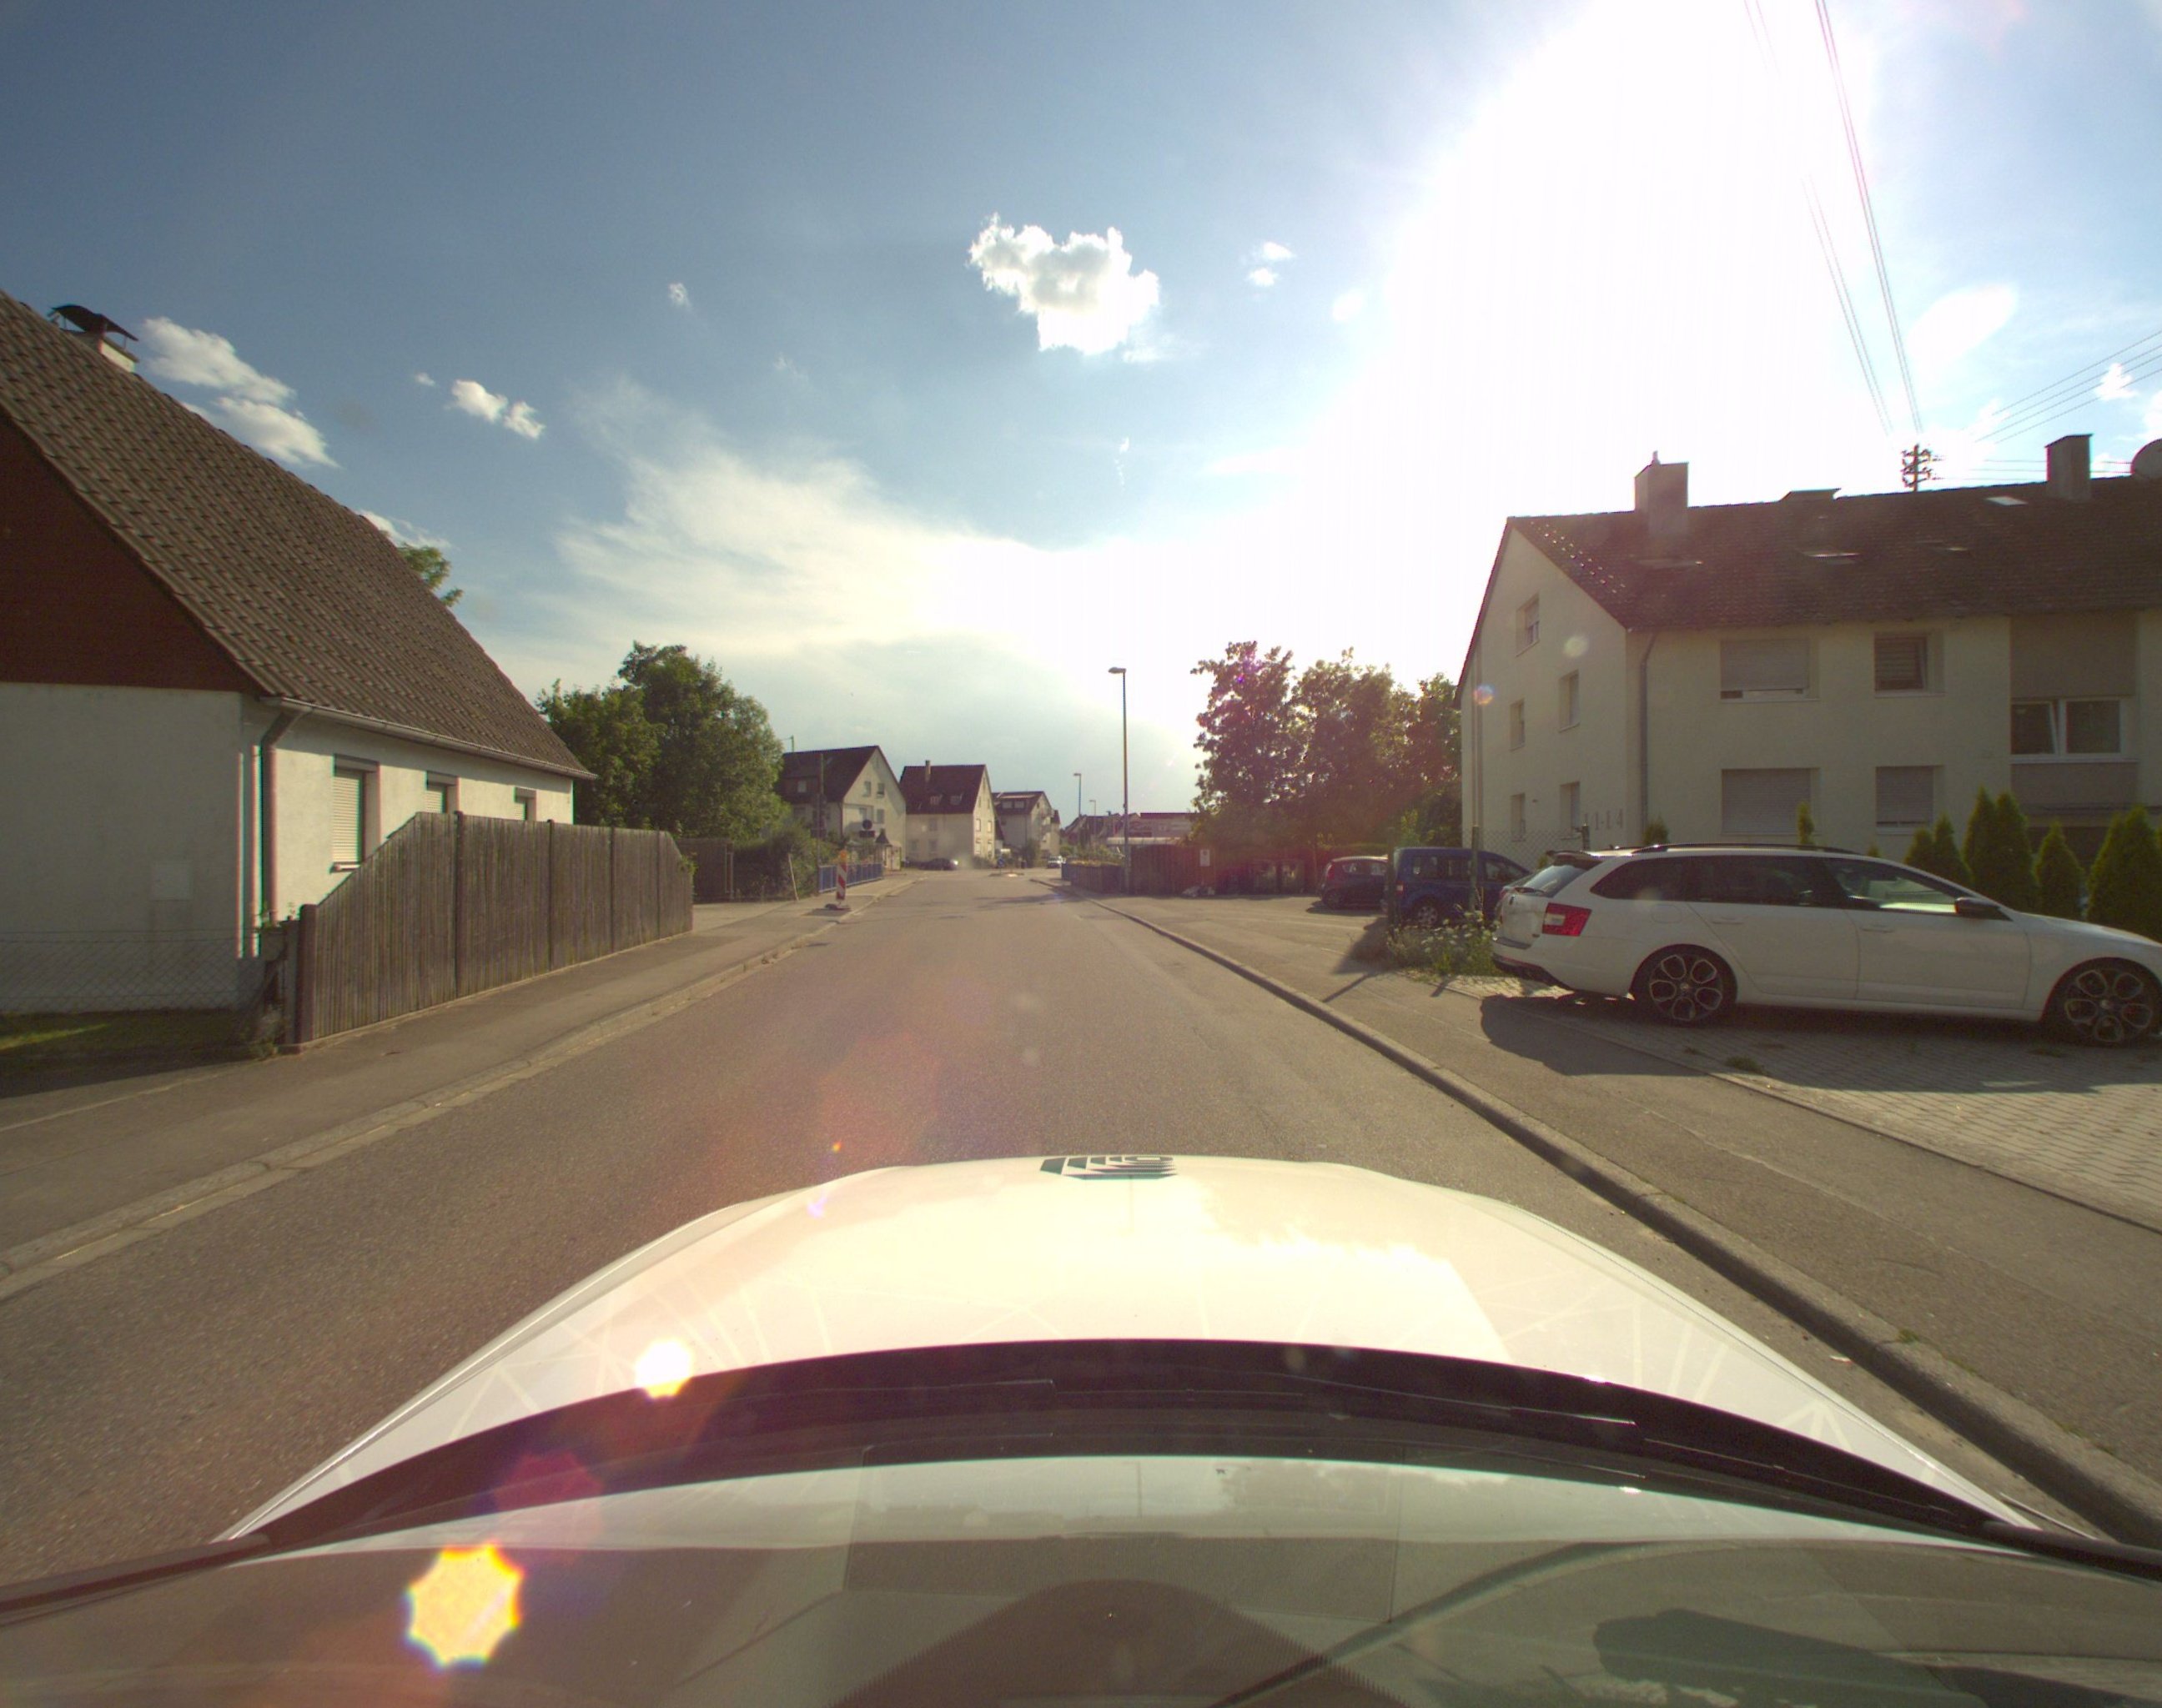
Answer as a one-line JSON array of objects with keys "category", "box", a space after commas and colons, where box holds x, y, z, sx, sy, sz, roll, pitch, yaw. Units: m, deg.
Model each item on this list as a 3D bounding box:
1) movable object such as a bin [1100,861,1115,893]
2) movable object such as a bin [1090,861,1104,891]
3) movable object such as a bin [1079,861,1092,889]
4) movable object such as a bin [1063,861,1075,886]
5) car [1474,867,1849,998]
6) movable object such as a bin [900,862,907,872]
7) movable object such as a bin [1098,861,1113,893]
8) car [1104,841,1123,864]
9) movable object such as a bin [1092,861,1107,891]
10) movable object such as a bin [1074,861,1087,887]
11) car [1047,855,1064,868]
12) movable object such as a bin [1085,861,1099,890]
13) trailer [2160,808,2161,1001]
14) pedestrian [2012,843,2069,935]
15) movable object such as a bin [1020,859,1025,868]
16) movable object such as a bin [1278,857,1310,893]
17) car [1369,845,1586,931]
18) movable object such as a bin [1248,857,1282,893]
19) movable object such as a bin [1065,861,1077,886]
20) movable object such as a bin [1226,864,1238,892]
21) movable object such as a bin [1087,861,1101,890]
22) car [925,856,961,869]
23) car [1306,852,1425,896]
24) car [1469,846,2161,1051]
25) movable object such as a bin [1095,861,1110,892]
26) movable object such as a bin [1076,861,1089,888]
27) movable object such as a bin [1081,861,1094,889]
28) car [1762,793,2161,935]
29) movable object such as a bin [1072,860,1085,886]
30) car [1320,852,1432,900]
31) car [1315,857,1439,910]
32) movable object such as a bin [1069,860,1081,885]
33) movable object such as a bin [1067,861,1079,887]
[{"category": "movable object such as a bin", "box": [0.963, 0.839, 29.589, 0.478, 1.143, 0.537, 0, -1, -9]}, {"category": "movable object such as a bin", "box": [0.619, 0.860, 31.908, 0.478, 1.143, 0.537, 0, -1, -9]}, {"category": "movable object such as a bin", "box": [0.182, 0.883, 34.283, 0.478, 1.143, 0.563, -1, -1, -8]}, {"category": "movable object such as a bin", "box": [-0.557, 0.922, 38.480, 0.478, 1.143, 0.537, 0, -1, -9]}, {"category": "car", "box": [8.140, 1.007, 11.949, 1.701, 1.519, 4.245, 3, -2, -22]}, {"category": "movable object such as a bin", "box": [-17.994, 1.288, 82.472, 0.358, 1.041, 0.561, -1, -2, 23]}, {"category": "movable object such as a bin", "box": [0.897, 0.844, 30.142, 0.478, 1.143, 0.537, 0, -1, -9]}, {"category": "car", "box": [3.485, -0.111, 86.596, 1.828, 2.375, 5.182, -1, -1, 3]}, {"category": "movable object such as a bin", "box": [0.710, 0.855, 31.345, 0.478, 1.143, 0.537, 0, -1, -9]}, {"category": "movable object such as a bin", "box": [-0.030, 0.871, 35.470, 0.478, 1.143, 0.537, 0, -1, -9]}, {"category": "car", "box": [-3.673, 1.060, 116.540, 1.707, 1.872, 4.201, -2, 0, 7]}, {"category": "movable object such as a bin", "box": [0.447, 0.871, 33.060, 0.478, 1.143, 0.537, 0, -1, -9]}, {"category": "trailer", "box": [10.103, 0.466, 5.630, 1.509, 1.752, 3.230, 0, 0, 14]}, {"category": "pedestrian", "box": [18.040, 0.645, 15.324, 0.531, 1.704, 0.414, -1, 0, 13]}, {"category": "movable object such as a bin", "box": [-7.559, 1.194, 105.013, 0.607, 1.101, 0.577, 1, -1, 7]}, {"category": "movable object such as a bin", "box": [8.112, 0.778, 31.013, 1.035, 1.337, 1.006, 0, 0, 5]}, {"category": "car", "box": [8.981, 0.728, 18.786, 4.175, 1.786, 1.772, 0, 2, 9]}, {"category": "movable object such as a bin", "box": [6.996, 0.788, 31.083, 1.146, 1.337, 1.047, 0, 0, 5]}, {"category": "movable object such as a bin", "box": [-0.453, 0.917, 37.871, 0.478, 1.143, 0.537, 0, -1, -9]}, {"category": "movable object such as a bin", "box": [5.765, 0.920, 31.049, 0.429, 1.044, 0.442, 0, 0, 5]}, {"category": "movable object such as a bin", "box": [0.521, 0.865, 32.478, 0.478, 1.143, 0.537, 0, -1, -9]}, {"category": "car", "box": [-15.487, 0.934, 91.537, 3.948, 1.433, 1.664, 1, 0, 34]}, {"category": "car", "box": [9.844, 0.666, 28.454, 3.720, 1.450, 1.641, 0, 0, 9]}, {"category": "car", "box": [5.954, 0.678, 7.021, 4.435, 1.458, 1.736, 0, 0, 11]}, {"category": "movable object such as a bin", "box": [0.808, 0.849, 30.707, 0.478, 1.143, 0.541, 0, -1, -9]}, {"category": "movable object such as a bin", "box": [0.061, 0.872, 34.853, 0.478, 1.143, 0.537, 0, -1, -9]}, {"category": "movable object such as a bin", "box": [0.269, 0.877, 33.680, 0.478, 1.143, 0.537, 0, -1, -9]}, {"category": "car", "box": [11.724, 0.146, 10.885, 1.766, 1.544, 3.650, 2, -1, -22]}, {"category": "movable object such as a bin", "box": [-0.125, 0.845, 36.067, 0.478, 1.143, 0.537, 0, -1, -9]}, {"category": "car", "box": [9.244, 0.678, 25.717, 3.108, 1.450, 1.581, 0, 0, 9]}, {"category": "car", "box": [8.491, 0.814, 23.564, 3.187, 1.450, 1.655, 0, 0, 12]}, {"category": "movable object such as a bin", "box": [-0.261, 0.822, 36.693, 0.478, 1.143, 0.537, 0, -1, -9]}, {"category": "movable object such as a bin", "box": [-0.354, 0.911, 37.288, 0.478, 1.143, 0.537, 0, -1, -9]}]
